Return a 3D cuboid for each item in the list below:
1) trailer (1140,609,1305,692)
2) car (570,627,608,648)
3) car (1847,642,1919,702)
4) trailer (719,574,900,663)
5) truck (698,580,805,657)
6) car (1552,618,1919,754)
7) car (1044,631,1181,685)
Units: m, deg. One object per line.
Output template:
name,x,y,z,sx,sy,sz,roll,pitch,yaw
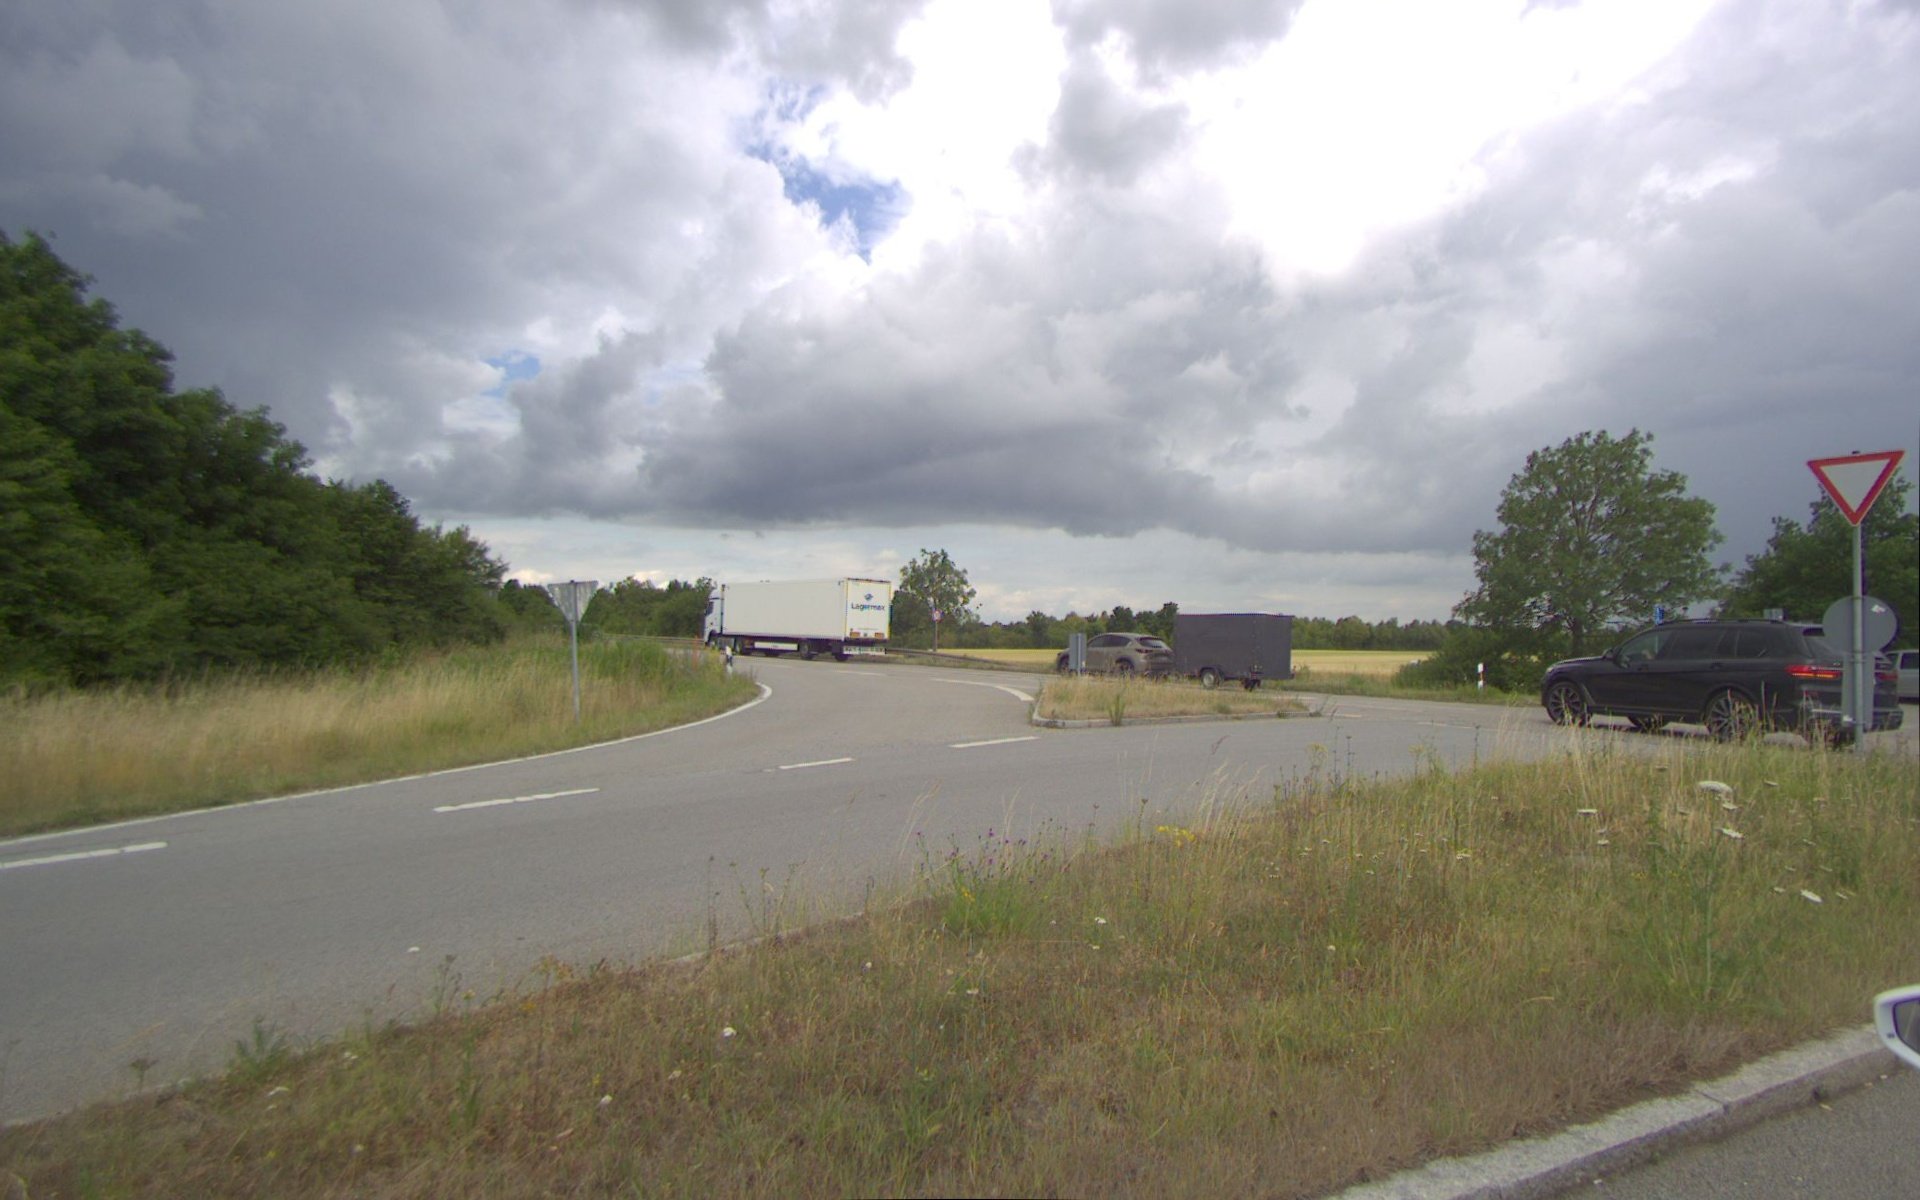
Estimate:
trailer,7.988,1.542,30.818,2.397,2.322,4.347,4,-4,-39
car,-30.664,3.120,83.018,1.980,1.622,4.183,1,-3,-35
car,34.554,2.530,35.414,2.295,2.040,4.917,-1,-2,2
trailer,-8.335,1.027,52.942,3.101,4.066,13.739,4,-3,-37
truck,-12.148,1.109,57.984,3.101,4.066,7.230,4,-3,-37
car,11.904,1.241,15.793,1.964,1.798,4.636,2,-2,-10
car,5.112,1.948,34.193,1.984,1.704,4.427,4,-4,-40
